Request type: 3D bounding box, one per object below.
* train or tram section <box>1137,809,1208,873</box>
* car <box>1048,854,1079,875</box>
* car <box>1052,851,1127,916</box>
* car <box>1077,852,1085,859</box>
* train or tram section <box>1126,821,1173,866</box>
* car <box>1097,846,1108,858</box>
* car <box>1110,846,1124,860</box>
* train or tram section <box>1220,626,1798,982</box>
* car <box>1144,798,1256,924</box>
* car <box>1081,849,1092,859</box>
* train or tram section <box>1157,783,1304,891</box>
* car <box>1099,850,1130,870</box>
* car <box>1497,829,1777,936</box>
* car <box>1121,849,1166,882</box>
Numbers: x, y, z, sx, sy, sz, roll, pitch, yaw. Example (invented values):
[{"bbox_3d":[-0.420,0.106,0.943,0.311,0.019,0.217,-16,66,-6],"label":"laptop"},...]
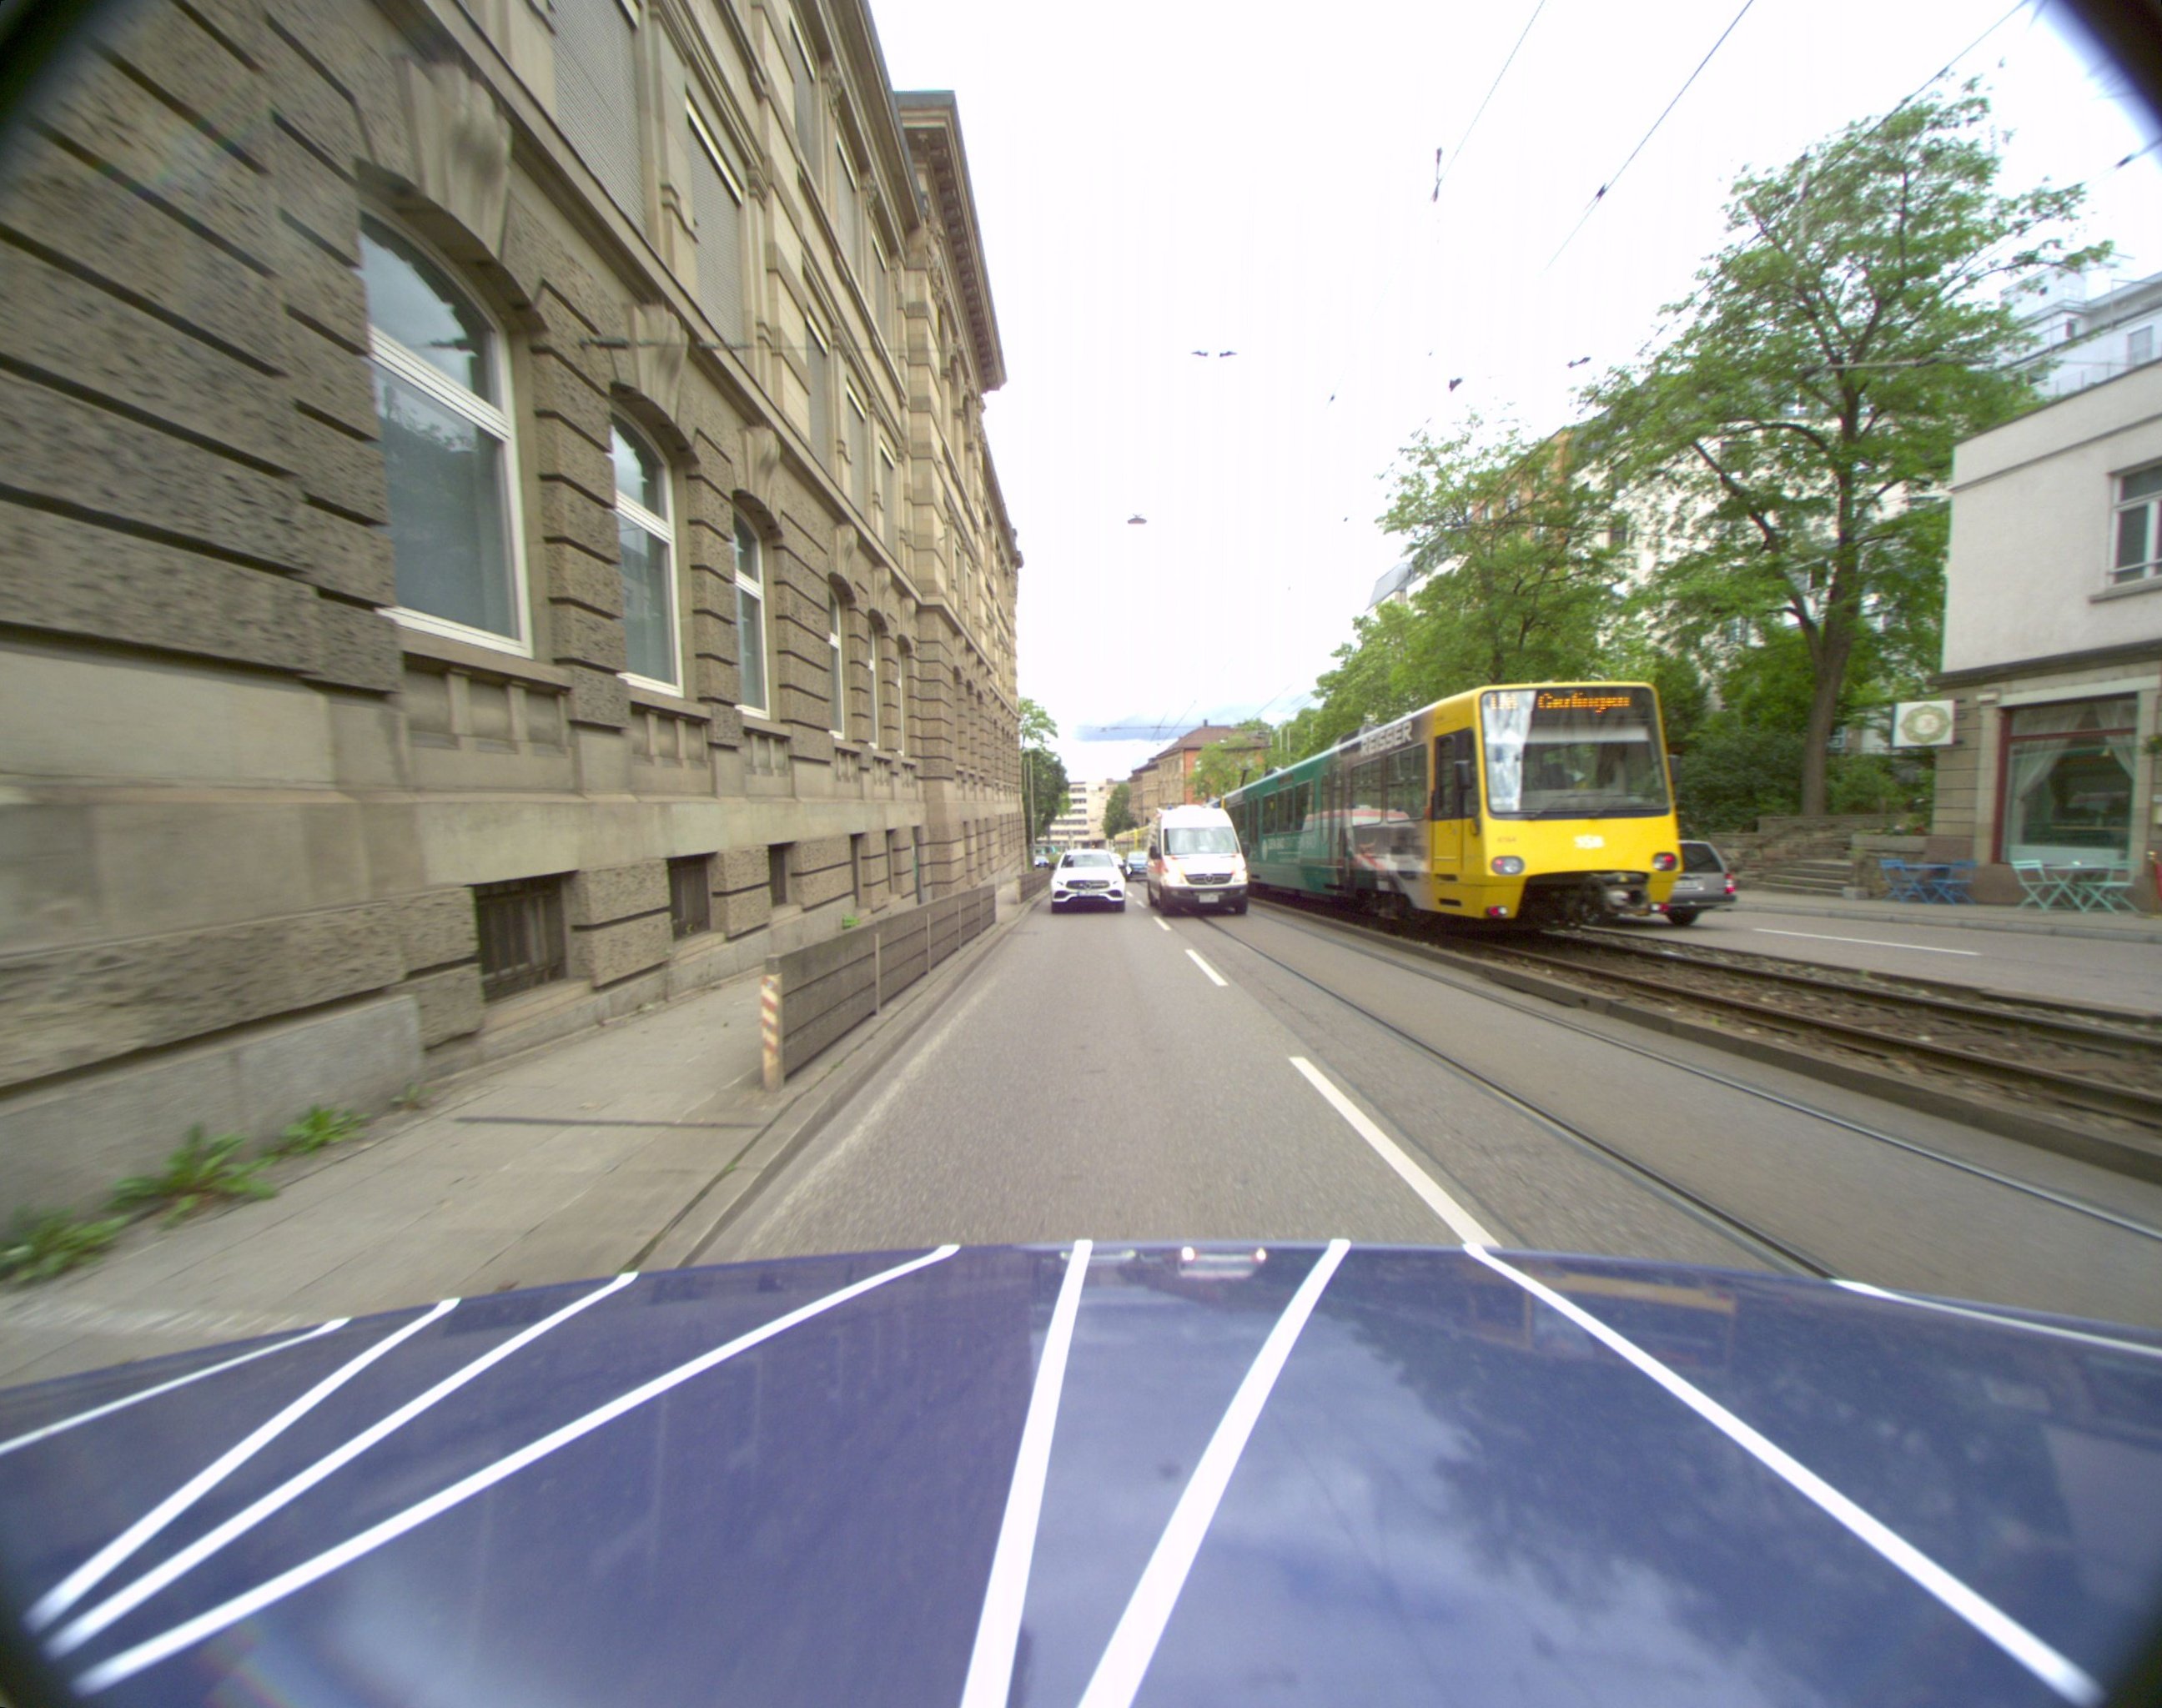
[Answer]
[{"bbox_3d":[6.173,-0.812,54.985,2.883,3.704,18.701,-3,0,0],"label":"train or tram section"},{"bbox_3d":[-1.278,0.714,53.998,1.823,1.440,3.850,-1,0,-7],"label":"car"},{"bbox_3d":[0.232,0.752,21.782,1.894,1.610,4.478,-2,0,0],"label":"car"},{"bbox_3d":[0.041,0.431,175.823,1.682,1.620,3.842,-1,0,-4],"label":"car"},{"bbox_3d":[6.217,-0.904,71.737,2.890,3.704,14.854,-3,0,0],"label":"train or tram section"},{"bbox_3d":[4.641,-0.448,165.366,1.872,2.250,4.747,-3,1,-4],"label":"car"},{"bbox_3d":[6.480,-0.242,136.666,1.999,2.461,3.999,-1,0,-3],"label":"car"},{"bbox_3d":[6.351,-0.583,17.595,2.883,3.704,18.755,-3,0,1],"label":"train or tram section"},{"bbox_3d":[2.857,0.158,19.593,2.038,2.684,5.855,-2,0,2],"label":"car"},{"bbox_3d":[1.177,0.011,166.929,2.148,2.002,4.746,-1,0,-2],"label":"car"},{"bbox_3d":[6.230,-0.640,36.343,2.884,3.704,18.753,-3,0,-1],"label":"train or tram section"},{"bbox_3d":[2.693,0.451,61.158,1.999,1.543,4.315,-2,0,-4],"label":"car"},{"bbox_3d":[9.690,0.423,13.778,1.998,1.587,4.239,-2,0,1],"label":"car"},{"bbox_3d":[3.278,0.582,40.501,1.931,1.563,4.180,-3,0,-1],"label":"car"}]
